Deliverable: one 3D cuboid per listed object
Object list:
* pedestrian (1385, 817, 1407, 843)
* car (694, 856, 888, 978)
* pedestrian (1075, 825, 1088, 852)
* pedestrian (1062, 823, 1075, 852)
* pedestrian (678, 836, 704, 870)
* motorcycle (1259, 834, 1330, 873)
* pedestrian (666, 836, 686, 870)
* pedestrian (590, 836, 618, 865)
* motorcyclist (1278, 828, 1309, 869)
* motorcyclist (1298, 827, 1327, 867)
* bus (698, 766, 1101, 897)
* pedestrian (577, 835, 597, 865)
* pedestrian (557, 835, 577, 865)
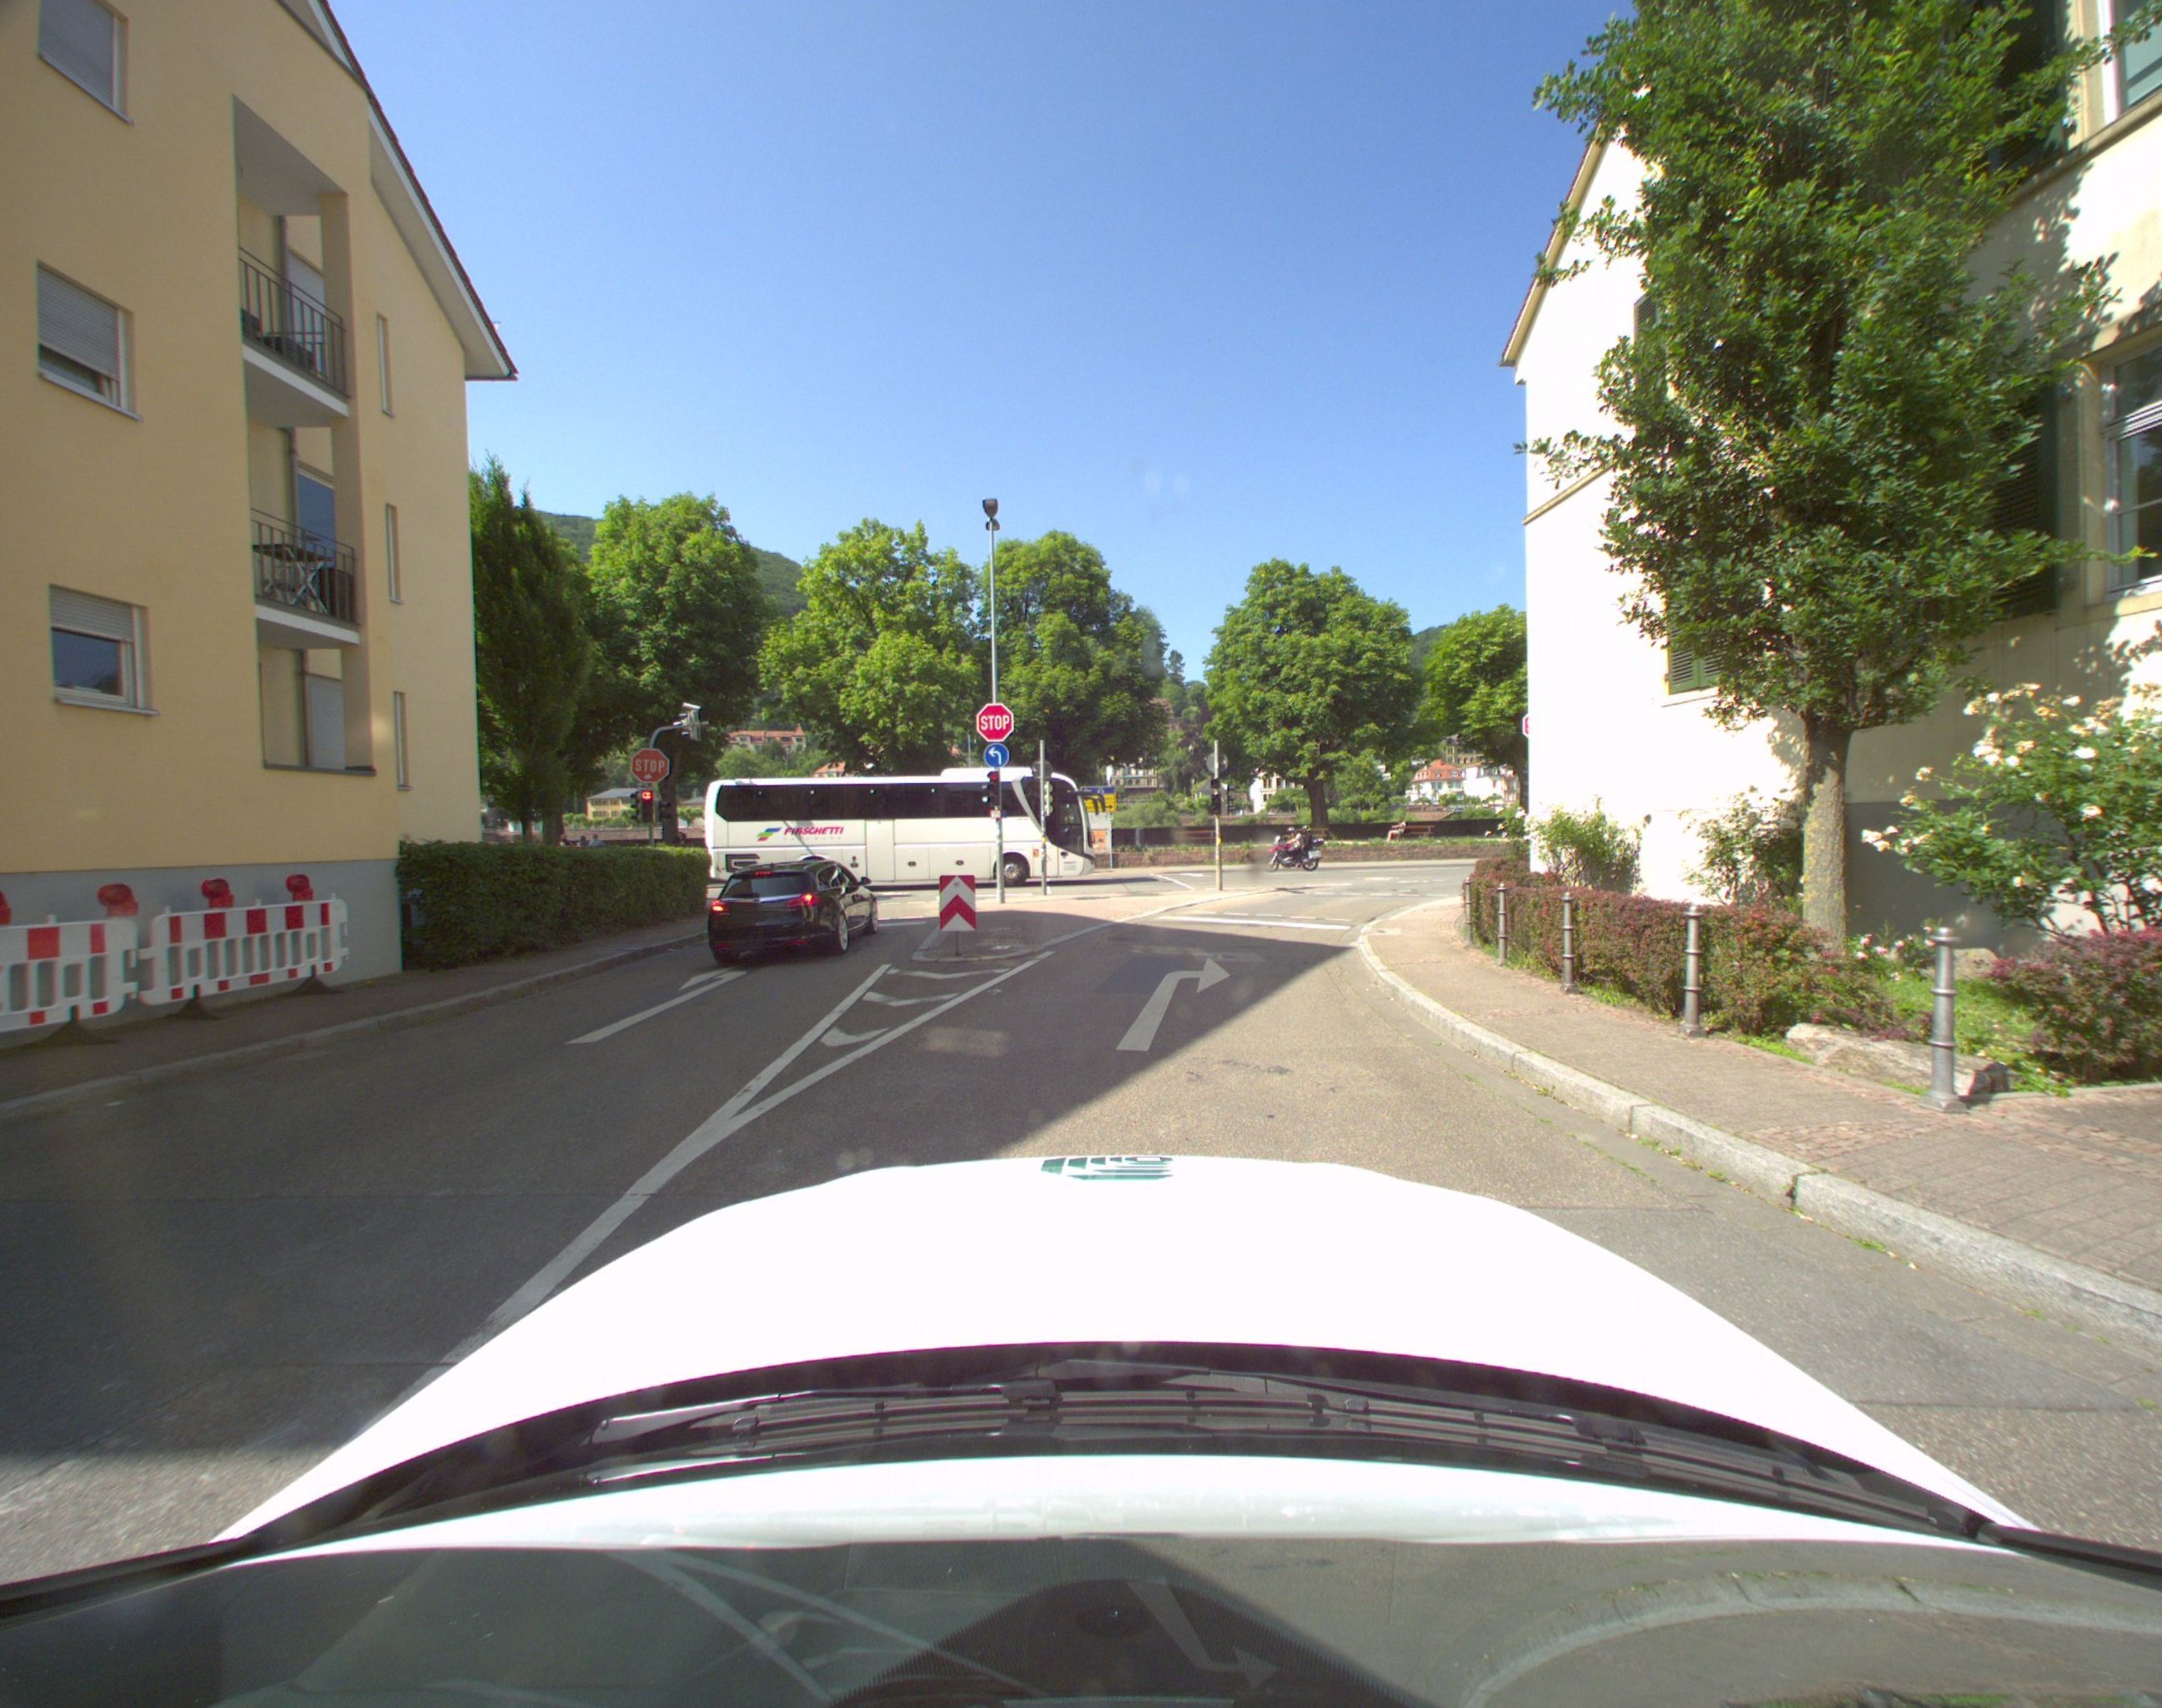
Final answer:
[{"bbox_3d":[15.126,-1.158,39.154,0.795,1.211,0.715,1,-2,-1],"label":"pedestrian"},{"bbox_3d":[-4.474,0.847,13.381,1.711,1.462,4.717,-3,1,-4],"label":"car"},{"bbox_3d":[0.013,-0.714,37.989,0.552,1.228,0.984,1,-2,-3],"label":"pedestrian"},{"bbox_3d":[-0.588,-0.766,37.682,0.552,1.279,0.703,1,-2,-4],"label":"pedestrian"},{"bbox_3d":[-17.429,-0.041,36.424,0.465,1.479,1.385,-1,1,0],"label":"pedestrian"},{"bbox_3d":[8.115,-0.033,30.988,2.460,1.376,0.762,-2,1,-7],"label":"motorcycle"},{"bbox_3d":[-17.971,-0.045,36.158,0.465,1.493,0.804,-1,1,0],"label":"pedestrian"},{"bbox_3d":[-21.211,-0.179,36.225,0.465,1.270,1.224,-1,1,0],"label":"pedestrian"},{"bbox_3d":[8.068,-0.201,30.959,0.871,1.494,0.817,-2,1,-7],"label":"motorcyclist"},{"bbox_3d":[8.831,-0.265,31.084,0.770,1.493,0.817,-2,1,-6],"label":"motorcyclist"},{"bbox_3d":[-5.564,-0.752,26.547,12.123,3.787,2.901,-1,1,-6],"label":"bus"},{"bbox_3d":[-21.755,-0.175,35.897,0.465,1.270,0.631,-1,1,0],"label":"pedestrian"},{"bbox_3d":[-22.636,-0.178,35.879,0.465,1.270,0.631,-1,1,0],"label":"pedestrian"}]
